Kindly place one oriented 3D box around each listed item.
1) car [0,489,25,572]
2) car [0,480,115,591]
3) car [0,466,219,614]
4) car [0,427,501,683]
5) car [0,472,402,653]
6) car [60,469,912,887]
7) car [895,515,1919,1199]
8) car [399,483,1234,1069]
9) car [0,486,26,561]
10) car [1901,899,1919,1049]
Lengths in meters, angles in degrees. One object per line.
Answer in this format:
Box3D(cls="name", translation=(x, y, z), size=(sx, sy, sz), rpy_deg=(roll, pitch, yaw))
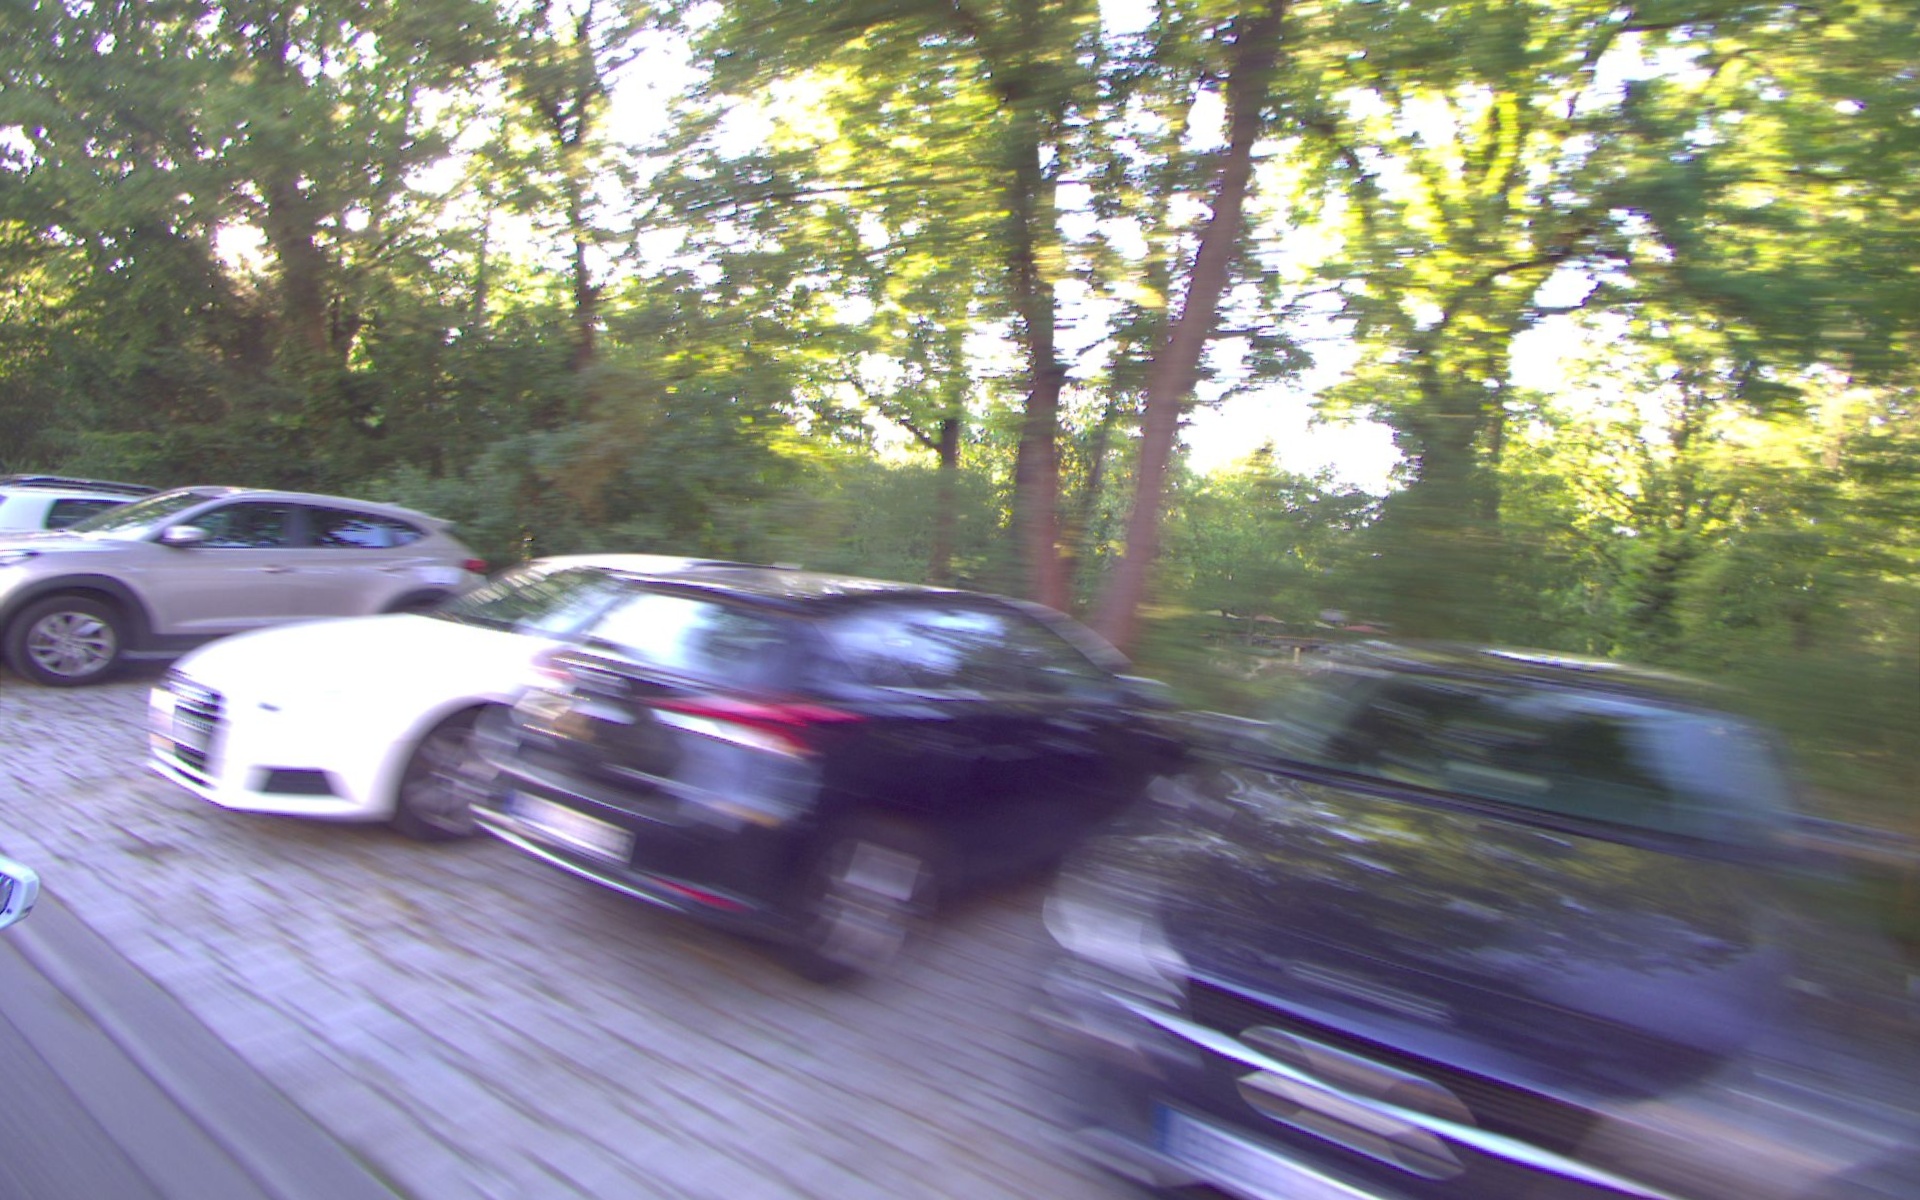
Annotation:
Box3D(cls="car", translation=(-19.001, -1.409, 17.201), size=(1.704, 1.467, 4.153), rpy_deg=(6, 1, 37))
Box3D(cls="car", translation=(-15.053, -1.052, 14.561), size=(1.698, 1.575, 3.986), rpy_deg=(6, 2, 33))
Box3D(cls="car", translation=(-12.726, -0.848, 13.353), size=(1.853, 1.813, 4.244), rpy_deg=(6, 2, 33))
Box3D(cls="car", translation=(-6.796, -0.328, 9.131), size=(2.002, 1.828, 4.307), rpy_deg=(6, 1, 33))
Box3D(cls="car", translation=(-8.442, -0.333, 10.696), size=(1.698, 1.574, 3.988), rpy_deg=(6, 0, 33))
Box3D(cls="car", translation=(-2.388, 0.365, 6.323), size=(1.826, 1.574, 4.487), rpy_deg=(8, 1, 32))
Box3D(cls="car", translation=(1.727, 0.796, 3.457), size=(1.697, 1.574, 3.988), rpy_deg=(8, 1, 33))
Box3D(cls="car", translation=(-0.228, 0.553, 4.945), size=(1.724, 1.574, 3.988), rpy_deg=(8, 1, 33))
Box3D(cls="car", translation=(-20.614, -1.662, 19.203), size=(1.798, 1.467, 3.804), rpy_deg=(6, 1, 37))
Box3D(cls="car", translation=(3.842, 1.070, 2.261), size=(1.697, 1.574, 3.988), rpy_deg=(8, 1, 33))
